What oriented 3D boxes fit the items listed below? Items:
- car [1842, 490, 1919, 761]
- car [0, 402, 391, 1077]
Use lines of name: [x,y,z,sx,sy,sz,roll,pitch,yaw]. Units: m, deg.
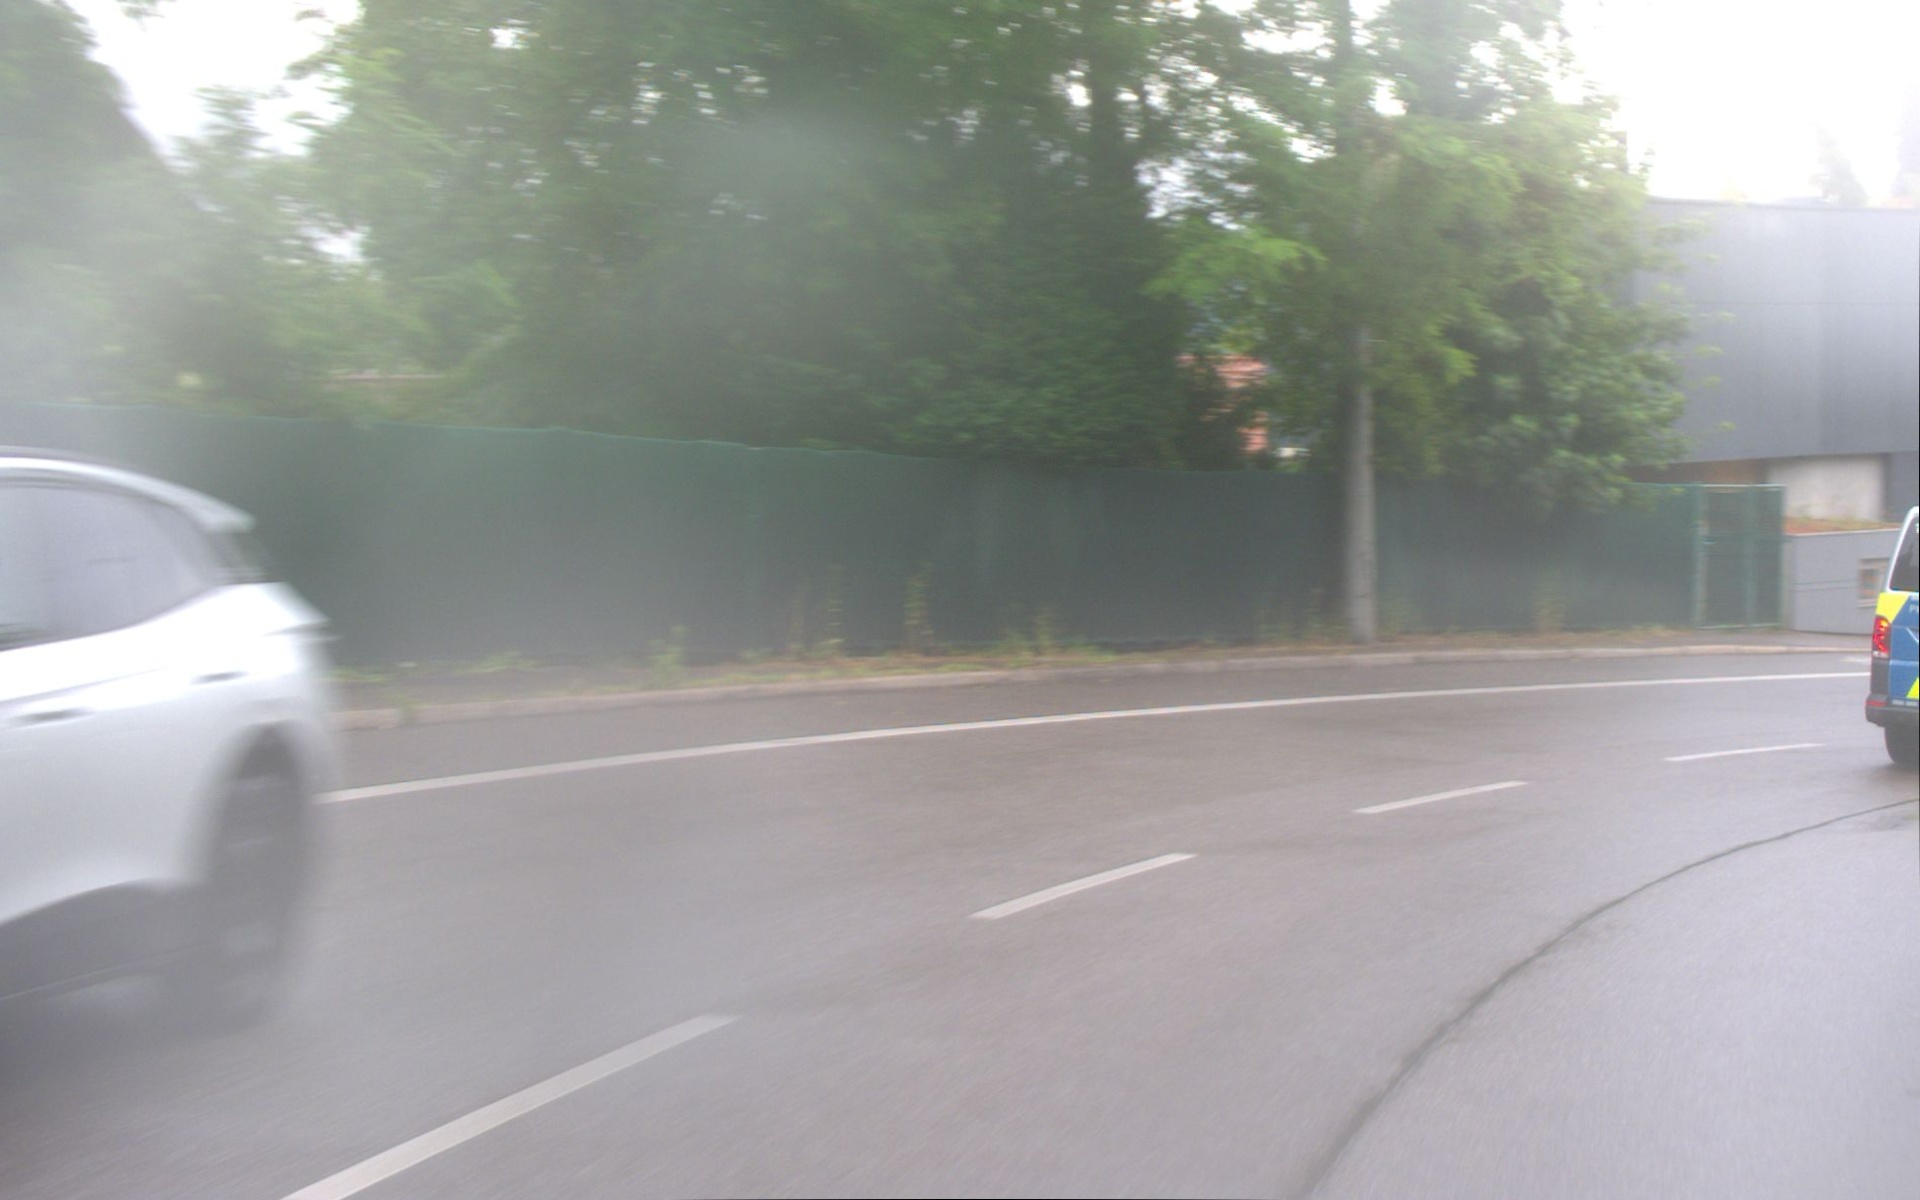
car: [8.416,0.248,25.784,1.997,1.887,4.561,4,1,34]
car: [-3.132,0.340,8.567,1.827,1.601,4.283,-1,1,13]
